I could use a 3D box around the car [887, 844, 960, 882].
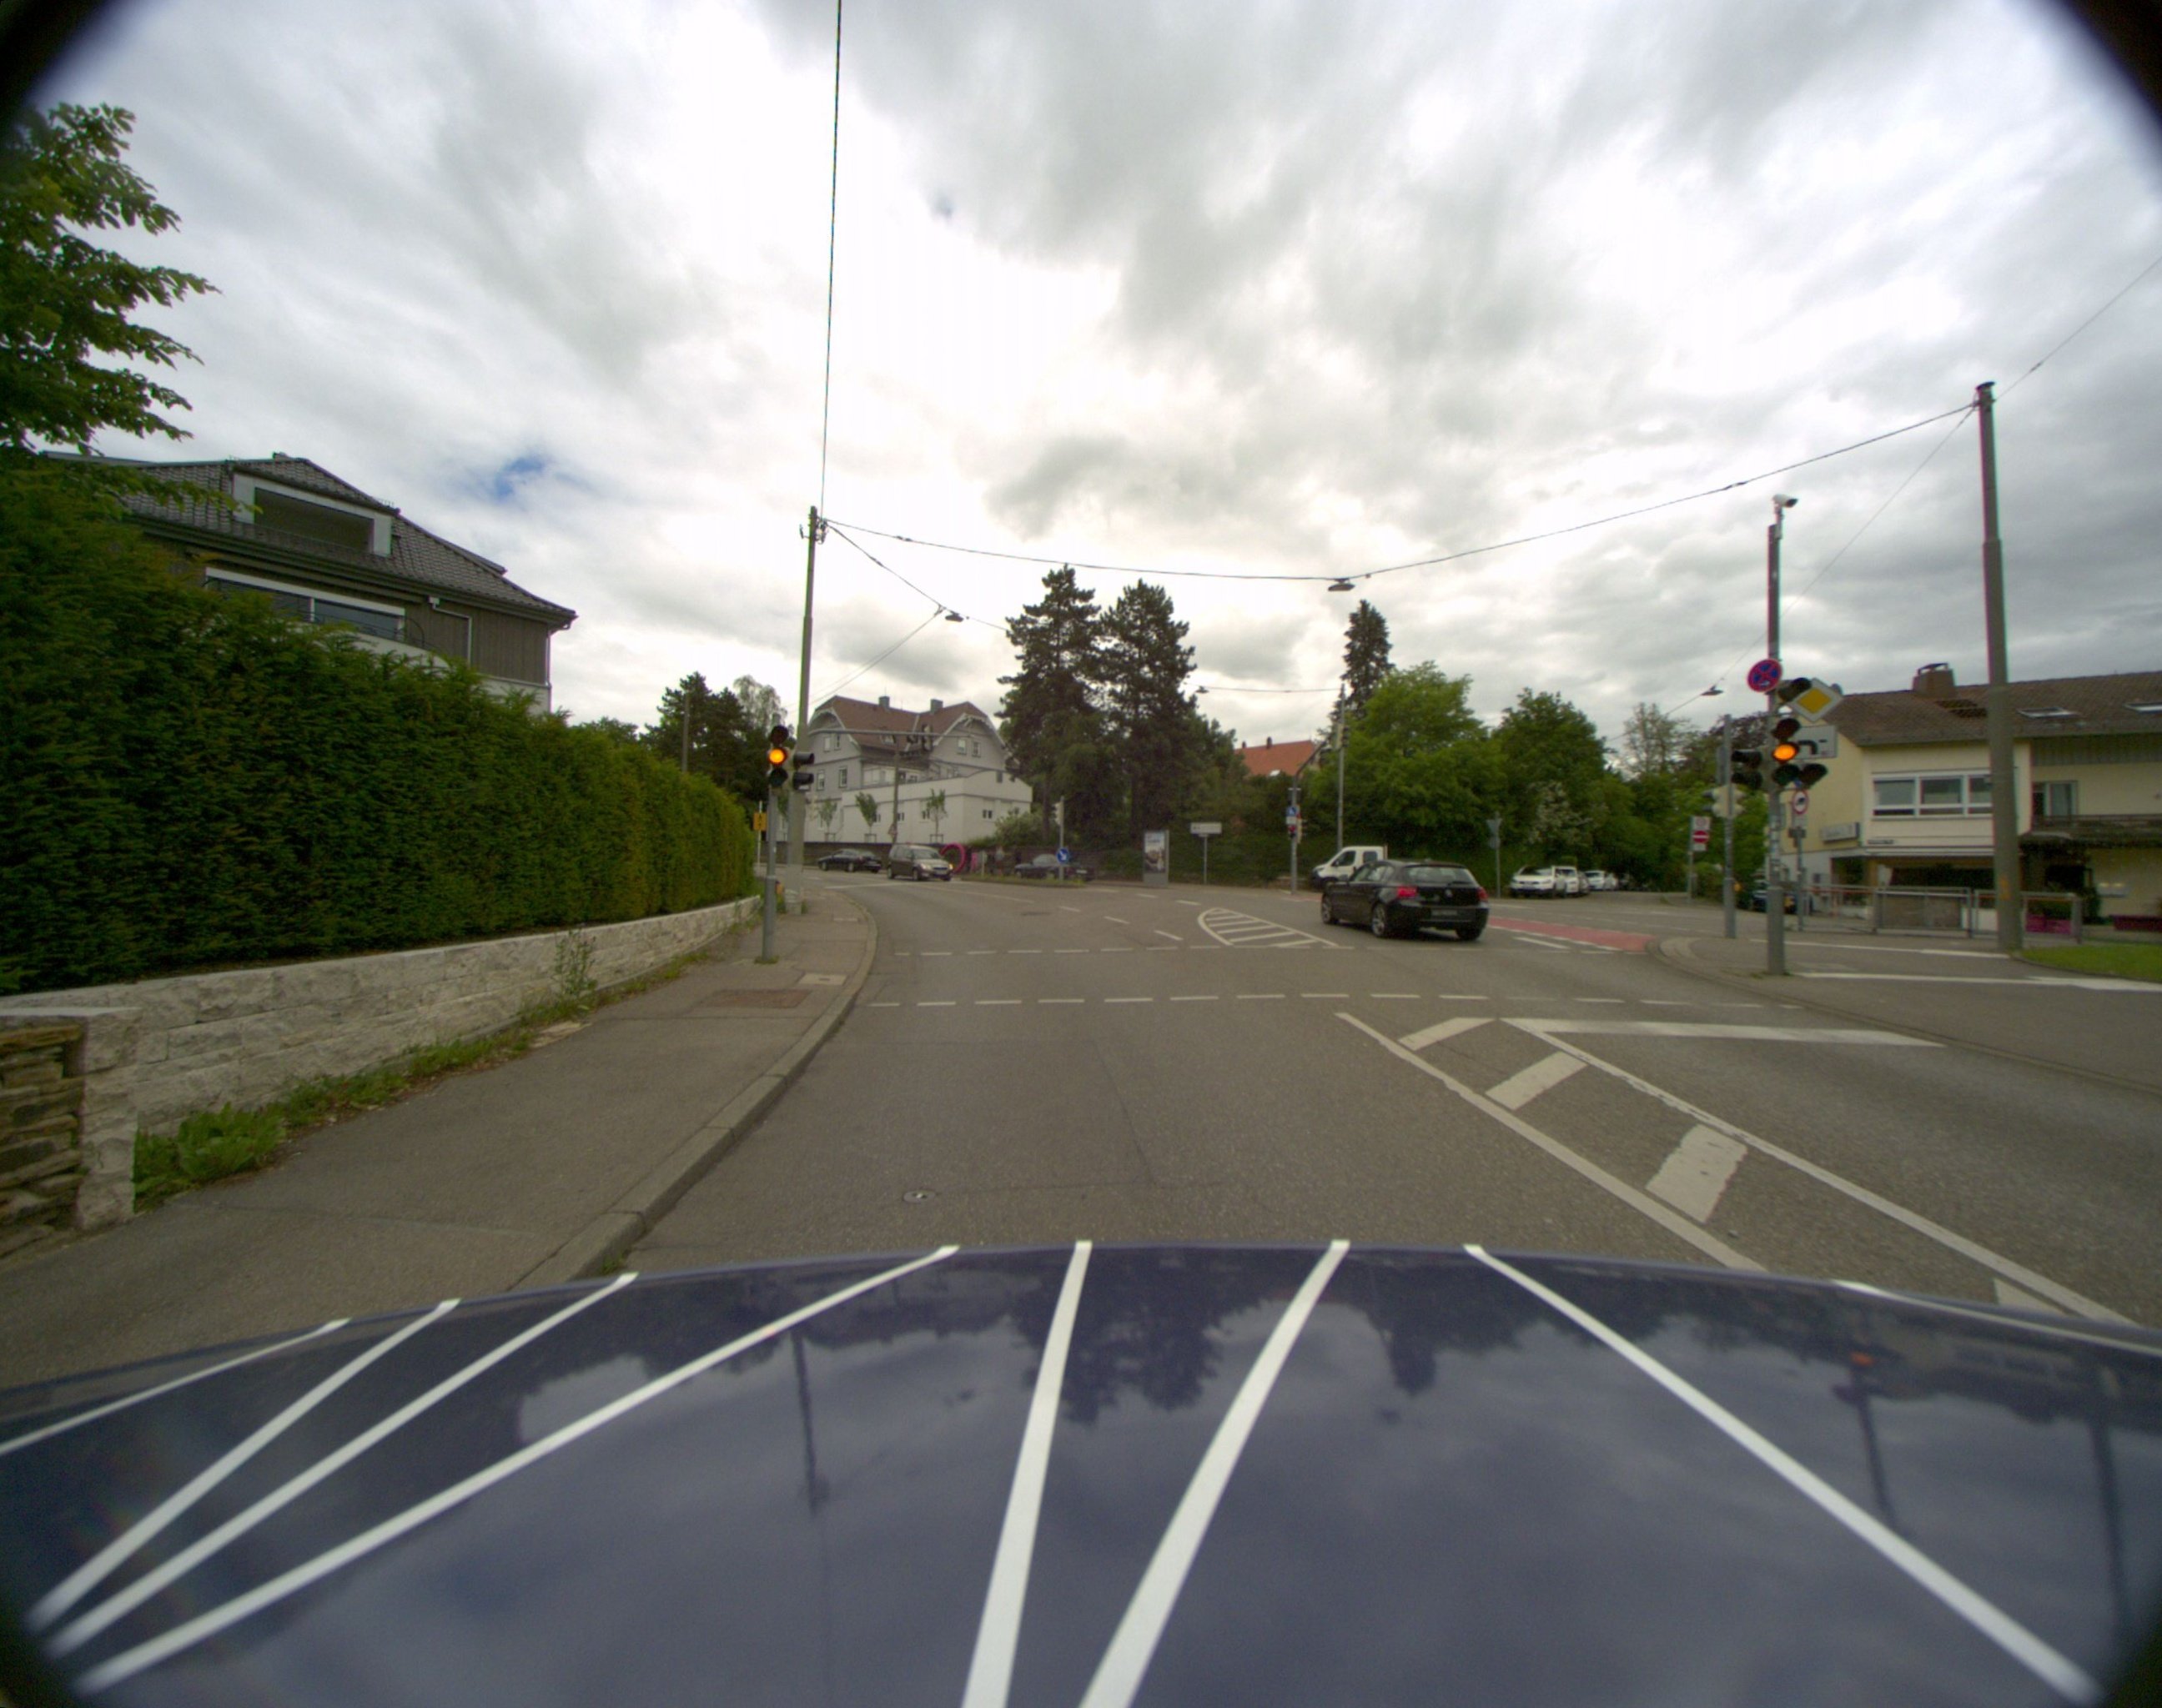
[{"bbox_3d":[-7.078,0.354,33.891,1.621,1.571,3.989,-1,2,-37],"label":"car"}]

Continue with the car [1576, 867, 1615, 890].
[{"bbox_3d":[38.430,1.799,56.750,1.866,1.577,3.739,1,0,42],"label":"car"}]

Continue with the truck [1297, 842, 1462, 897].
[{"bbox_3d":[13.457,0.644,34.713,6.703,2.176,2.533,2,1,18],"label":"truck"}]

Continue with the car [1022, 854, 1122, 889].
[{"bbox_3d":[-0.484,0.716,33.837,1.856,1.320,4.853,1,1,-38],"label":"car"}]

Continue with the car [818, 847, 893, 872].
[{"bbox_3d":[-13.827,0.323,46.439,5.042,1.414,2.004,1,1,41],"label":"car"}]

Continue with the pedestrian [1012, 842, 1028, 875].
[{"bbox_3d":[-3.432,0.237,43.044,0.611,1.824,0.605,2,1,34],"label":"pedestrian"}]

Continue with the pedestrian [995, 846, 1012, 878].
[{"bbox_3d":[-4.422,0.448,43.188,0.665,1.777,0.614,2,1,33],"label":"pedestrian"}]

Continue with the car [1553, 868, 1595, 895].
[{"bbox_3d":[29.171,1.599,44.937,1.867,1.445,3.739,0,0,36],"label":"car"}]

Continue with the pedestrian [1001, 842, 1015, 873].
[{"bbox_3d":[-4.211,0.209,43.901,0.503,1.802,0.511,2,1,36],"label":"pedestrian"}]

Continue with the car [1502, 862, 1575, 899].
[{"bbox_3d":[21.795,1.247,36.114,4.009,1.603,1.994,1,0,-44],"label":"car"}]

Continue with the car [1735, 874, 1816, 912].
[{"bbox_3d":[29.987,1.643,32.935,1.875,1.440,4.009,2,0,32],"label":"car"}]

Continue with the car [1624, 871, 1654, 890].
[{"bbox_3d":[51.748,2.438,70.475,1.866,1.577,3.739,2,0,42],"label":"car"}]

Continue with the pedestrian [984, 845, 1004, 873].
[{"bbox_3d":[-5.071,0.290,44.352,0.749,1.643,0.882,2,1,35],"label":"pedestrian"}]

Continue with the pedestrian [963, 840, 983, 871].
[{"bbox_3d":[-6.258,0.085,44.217,0.686,1.803,0.882,2,1,35],"label":"pedestrian"}]

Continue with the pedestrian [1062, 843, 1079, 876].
[{"bbox_3d":[-0.587,0.318,42.033,0.611,1.824,0.680,2,1,33],"label":"pedestrian"}]

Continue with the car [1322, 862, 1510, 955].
[{"bbox_3d":[6.095,0.904,14.381,1.766,1.400,4.000,2,0,0],"label":"car"}]

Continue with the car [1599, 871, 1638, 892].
[{"bbox_3d":[45.082,2.281,63.700,1.994,1.607,4.009,2,1,45],"label":"car"}]
